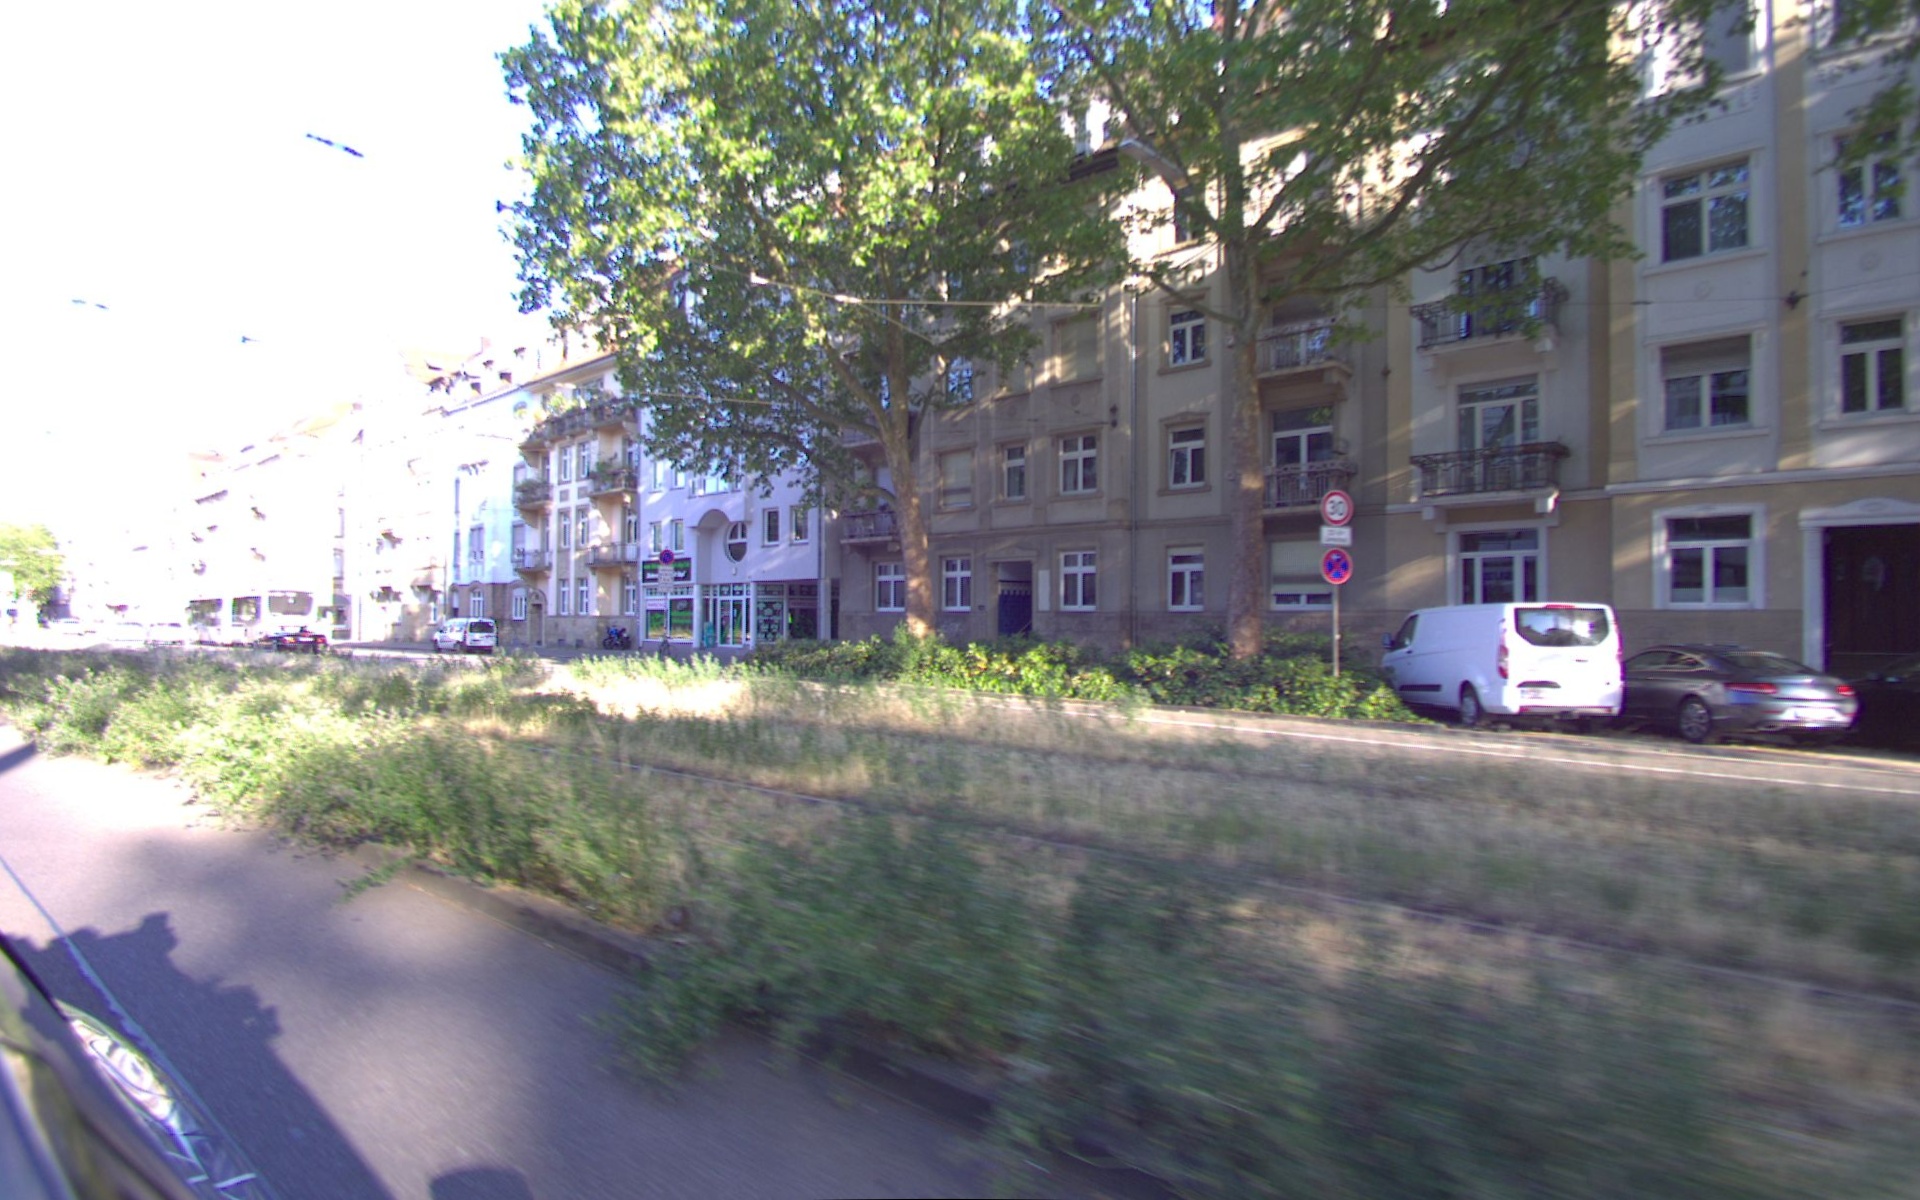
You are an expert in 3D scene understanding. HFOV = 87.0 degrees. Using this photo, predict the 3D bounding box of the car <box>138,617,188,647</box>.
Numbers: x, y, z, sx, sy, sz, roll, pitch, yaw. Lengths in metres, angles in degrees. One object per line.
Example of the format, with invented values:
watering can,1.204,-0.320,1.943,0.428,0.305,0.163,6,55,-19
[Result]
car,-47.965,1.878,60.884,1.908,1.696,4.003,2,-1,-45

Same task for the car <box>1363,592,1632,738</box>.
car,8.722,0.987,17.097,1.697,2.082,5.246,0,-1,0

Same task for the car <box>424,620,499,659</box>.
car,-25.094,1.928,50.866,4.654,1.800,1.883,0,-1,44

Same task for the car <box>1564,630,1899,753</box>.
car,11.008,1.218,14.899,1.697,1.502,4.176,0,-1,0

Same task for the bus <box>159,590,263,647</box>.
bus,-47.591,1.109,64.171,9.894,3.399,3.231,0,-1,41

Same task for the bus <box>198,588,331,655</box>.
bus,-39.300,1.118,56.934,11.971,3.399,3.221,0,-1,41

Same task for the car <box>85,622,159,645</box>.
car,-59.758,2.382,72.207,3.994,1.537,1.784,1,-1,-42

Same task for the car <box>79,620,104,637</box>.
car,-106.627,3.459,124.179,4.310,1.914,1.893,0,-1,44

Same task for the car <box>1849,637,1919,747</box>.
car,13.506,1.203,12.507,1.697,1.433,3.728,0,-1,0

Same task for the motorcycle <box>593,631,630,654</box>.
motorcycle,-16.571,2.014,48.089,2.419,1.029,0.522,-1,1,42

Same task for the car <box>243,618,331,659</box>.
car,-26.296,1.484,39.476,4.698,1.497,1.698,-1,-4,42

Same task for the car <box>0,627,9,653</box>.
car,-67.663,2.748,69.014,1.836,1.719,3.944,0,-1,42

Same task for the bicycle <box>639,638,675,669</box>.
bicycle,-11.668,2.057,38.926,0.747,1.040,1.900,-5,3,-34
